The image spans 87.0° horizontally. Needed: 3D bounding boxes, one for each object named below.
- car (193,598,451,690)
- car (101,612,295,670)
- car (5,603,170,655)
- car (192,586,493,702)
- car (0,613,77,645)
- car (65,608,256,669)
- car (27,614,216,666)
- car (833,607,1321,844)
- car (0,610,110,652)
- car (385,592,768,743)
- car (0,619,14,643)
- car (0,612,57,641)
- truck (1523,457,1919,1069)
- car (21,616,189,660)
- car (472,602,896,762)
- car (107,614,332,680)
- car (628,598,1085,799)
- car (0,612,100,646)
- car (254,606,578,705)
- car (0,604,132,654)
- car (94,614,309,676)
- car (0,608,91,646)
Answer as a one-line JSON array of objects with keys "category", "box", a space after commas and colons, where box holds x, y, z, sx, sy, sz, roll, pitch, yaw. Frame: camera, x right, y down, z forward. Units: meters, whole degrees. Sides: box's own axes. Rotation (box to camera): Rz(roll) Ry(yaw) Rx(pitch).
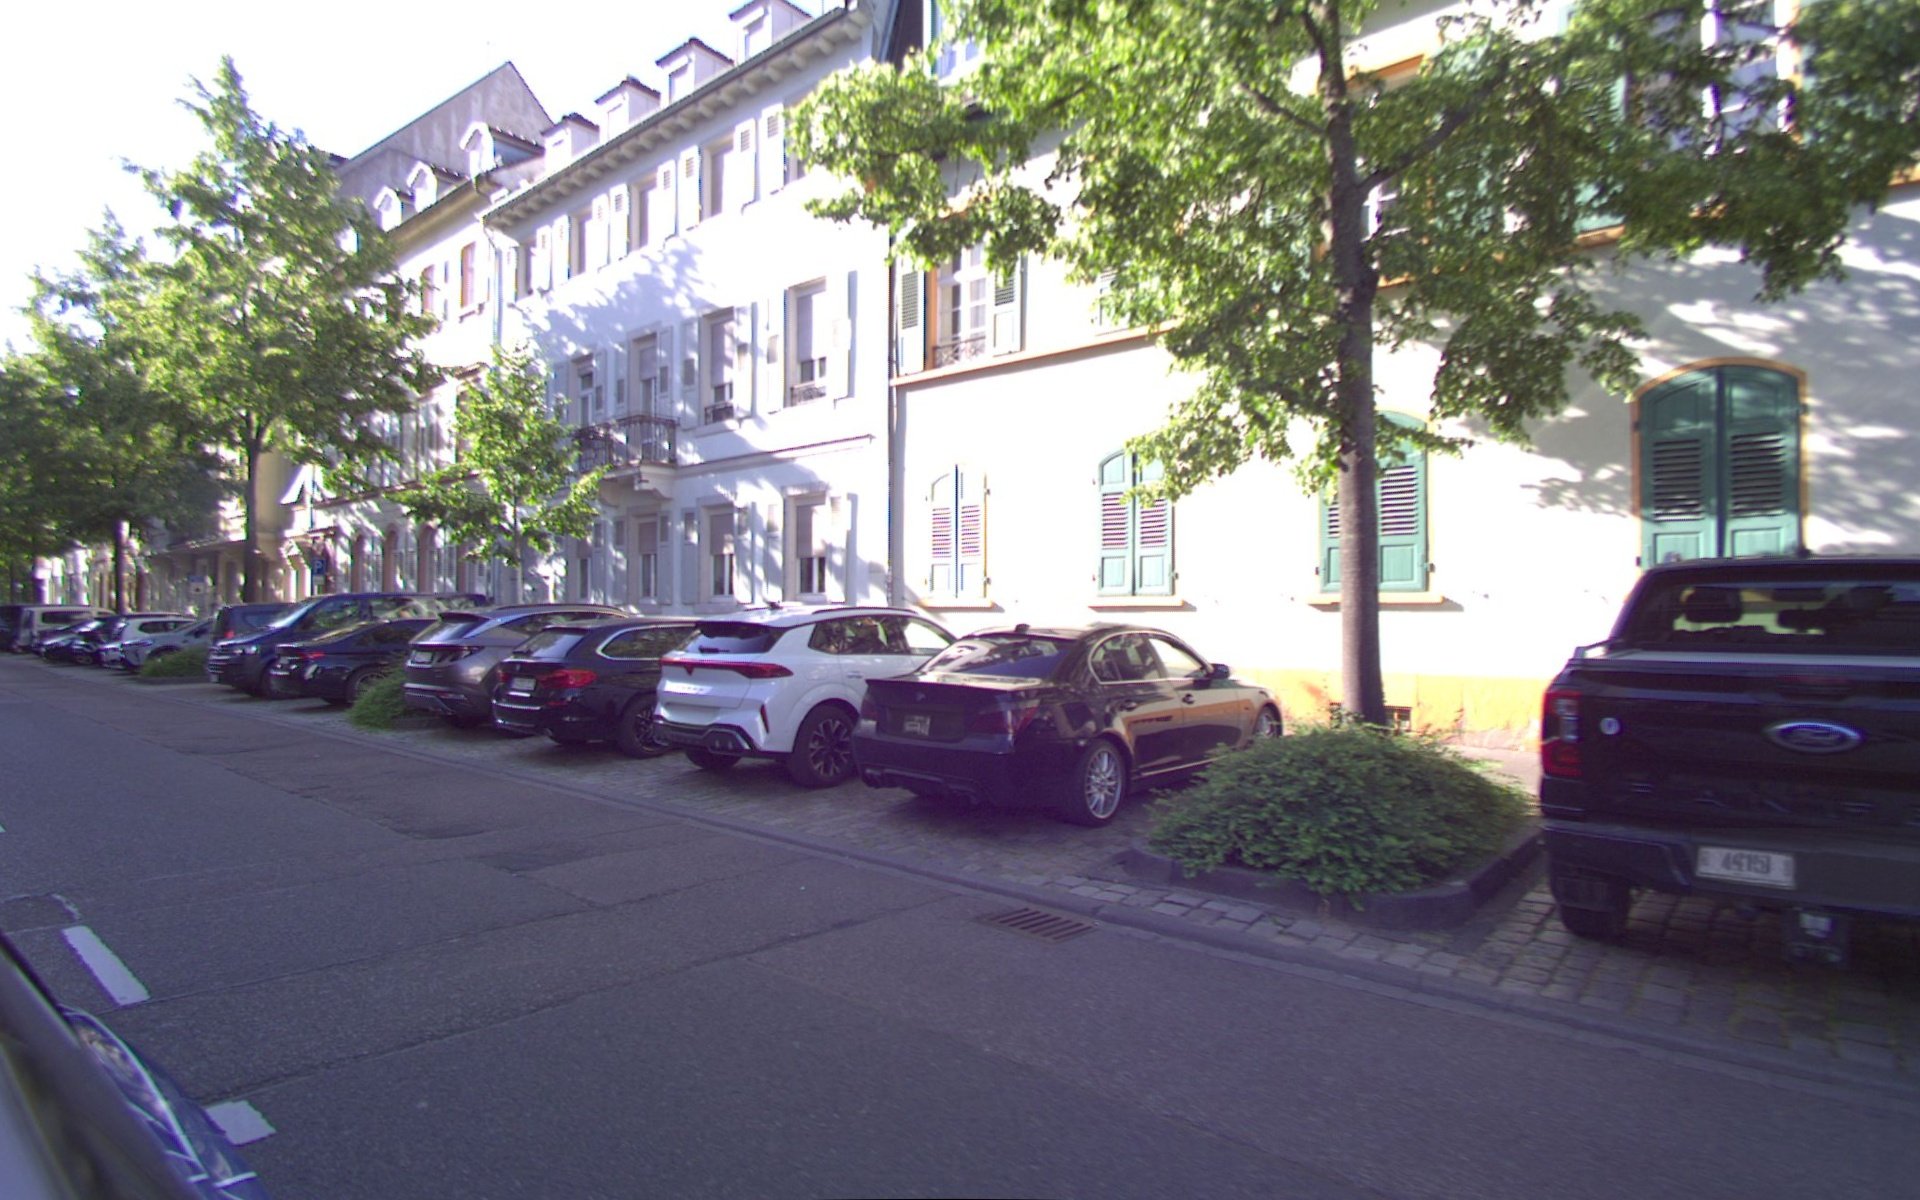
[{"category": "car", "box": [-13.785, 0.892, 22.071, 1.916, 1.785, 4.418, -1, -1, 42]}, {"category": "car", "box": [-22.372, 1.147, 29.855, 1.808, 1.594, 4.295, -1, -1, 40]}, {"category": "car", "box": [-32.493, 1.052, 37.826, 1.909, 1.848, 4.308, -1, -1, 31]}, {"category": "car", "box": [-11.785, 0.776, 19.593, 1.916, 1.965, 4.631, -1, -1, 41]}, {"category": "car", "box": [-47.699, 1.460, 51.217, 1.962, 1.556, 4.297, -1, -1, 38]}, {"category": "car", "box": [-24.291, 1.104, 30.867, 1.915, 1.722, 4.295, -1, -1, 40]}, {"category": "car", "box": [-26.538, 1.213, 32.158, 1.916, 1.552, 4.417, -1, -1, 43]}, {"category": "car", "box": [1.267, 0.811, 8.633, 1.808, 1.474, 4.630, -1, -1, 42]}, {"category": "car", "box": [-40.324, 1.323, 44.430, 1.914, 1.746, 4.297, -1, -1, 39]}, {"category": "car", "box": [-5.066, 0.798, 13.931, 1.808, 1.725, 4.630, -1, -1, 42]}, {"category": "car", "box": [-62.598, 1.977, 63.757, 1.944, 1.556, 4.292, -1, -1, 42]}, {"category": "car", "box": [-53.038, 1.489, 55.705, 1.996, 1.503, 4.657, 1, 1, 36]}, {"category": "truck", "box": [4.587, 0.592, 5.250, 1.998, 1.953, 5.033, -1, -2, 40]}, {"category": "car", "box": [-30.366, 1.308, 36.043, 1.914, 1.450, 4.297, -1, -1, 39]}, {"category": "car", "box": [-3.032, 0.811, 11.980, 1.808, 1.531, 4.630, -1, -1, 42]}, {"category": "car", "box": [-18.992, 1.140, 26.095, 1.917, 1.552, 4.416, -1, -1, 44]}, {"category": "car", "box": [-0.803, 0.805, 10.305, 1.808, 1.584, 4.630, -1, -1, 42]}, {"category": "car", "box": [-43.512, 1.345, 47.661, 1.914, 1.556, 4.297, -1, -1, 39]}, {"category": "car", "box": [-9.113, 0.850, 17.322, 1.682, 1.470, 4.598, -1, -1, 40]}, {"category": "car", "box": [-36.486, 1.150, 40.842, 1.930, 1.941, 4.523, -1, -1, 43]}, {"category": "car", "box": [-20.742, 1.178, 27.824, 1.915, 1.552, 4.421, -1, -1, 40]}, {"category": "car", "box": [-45.626, 1.311, 49.651, 1.928, 1.838, 4.297, -1, -1, 39]}]
